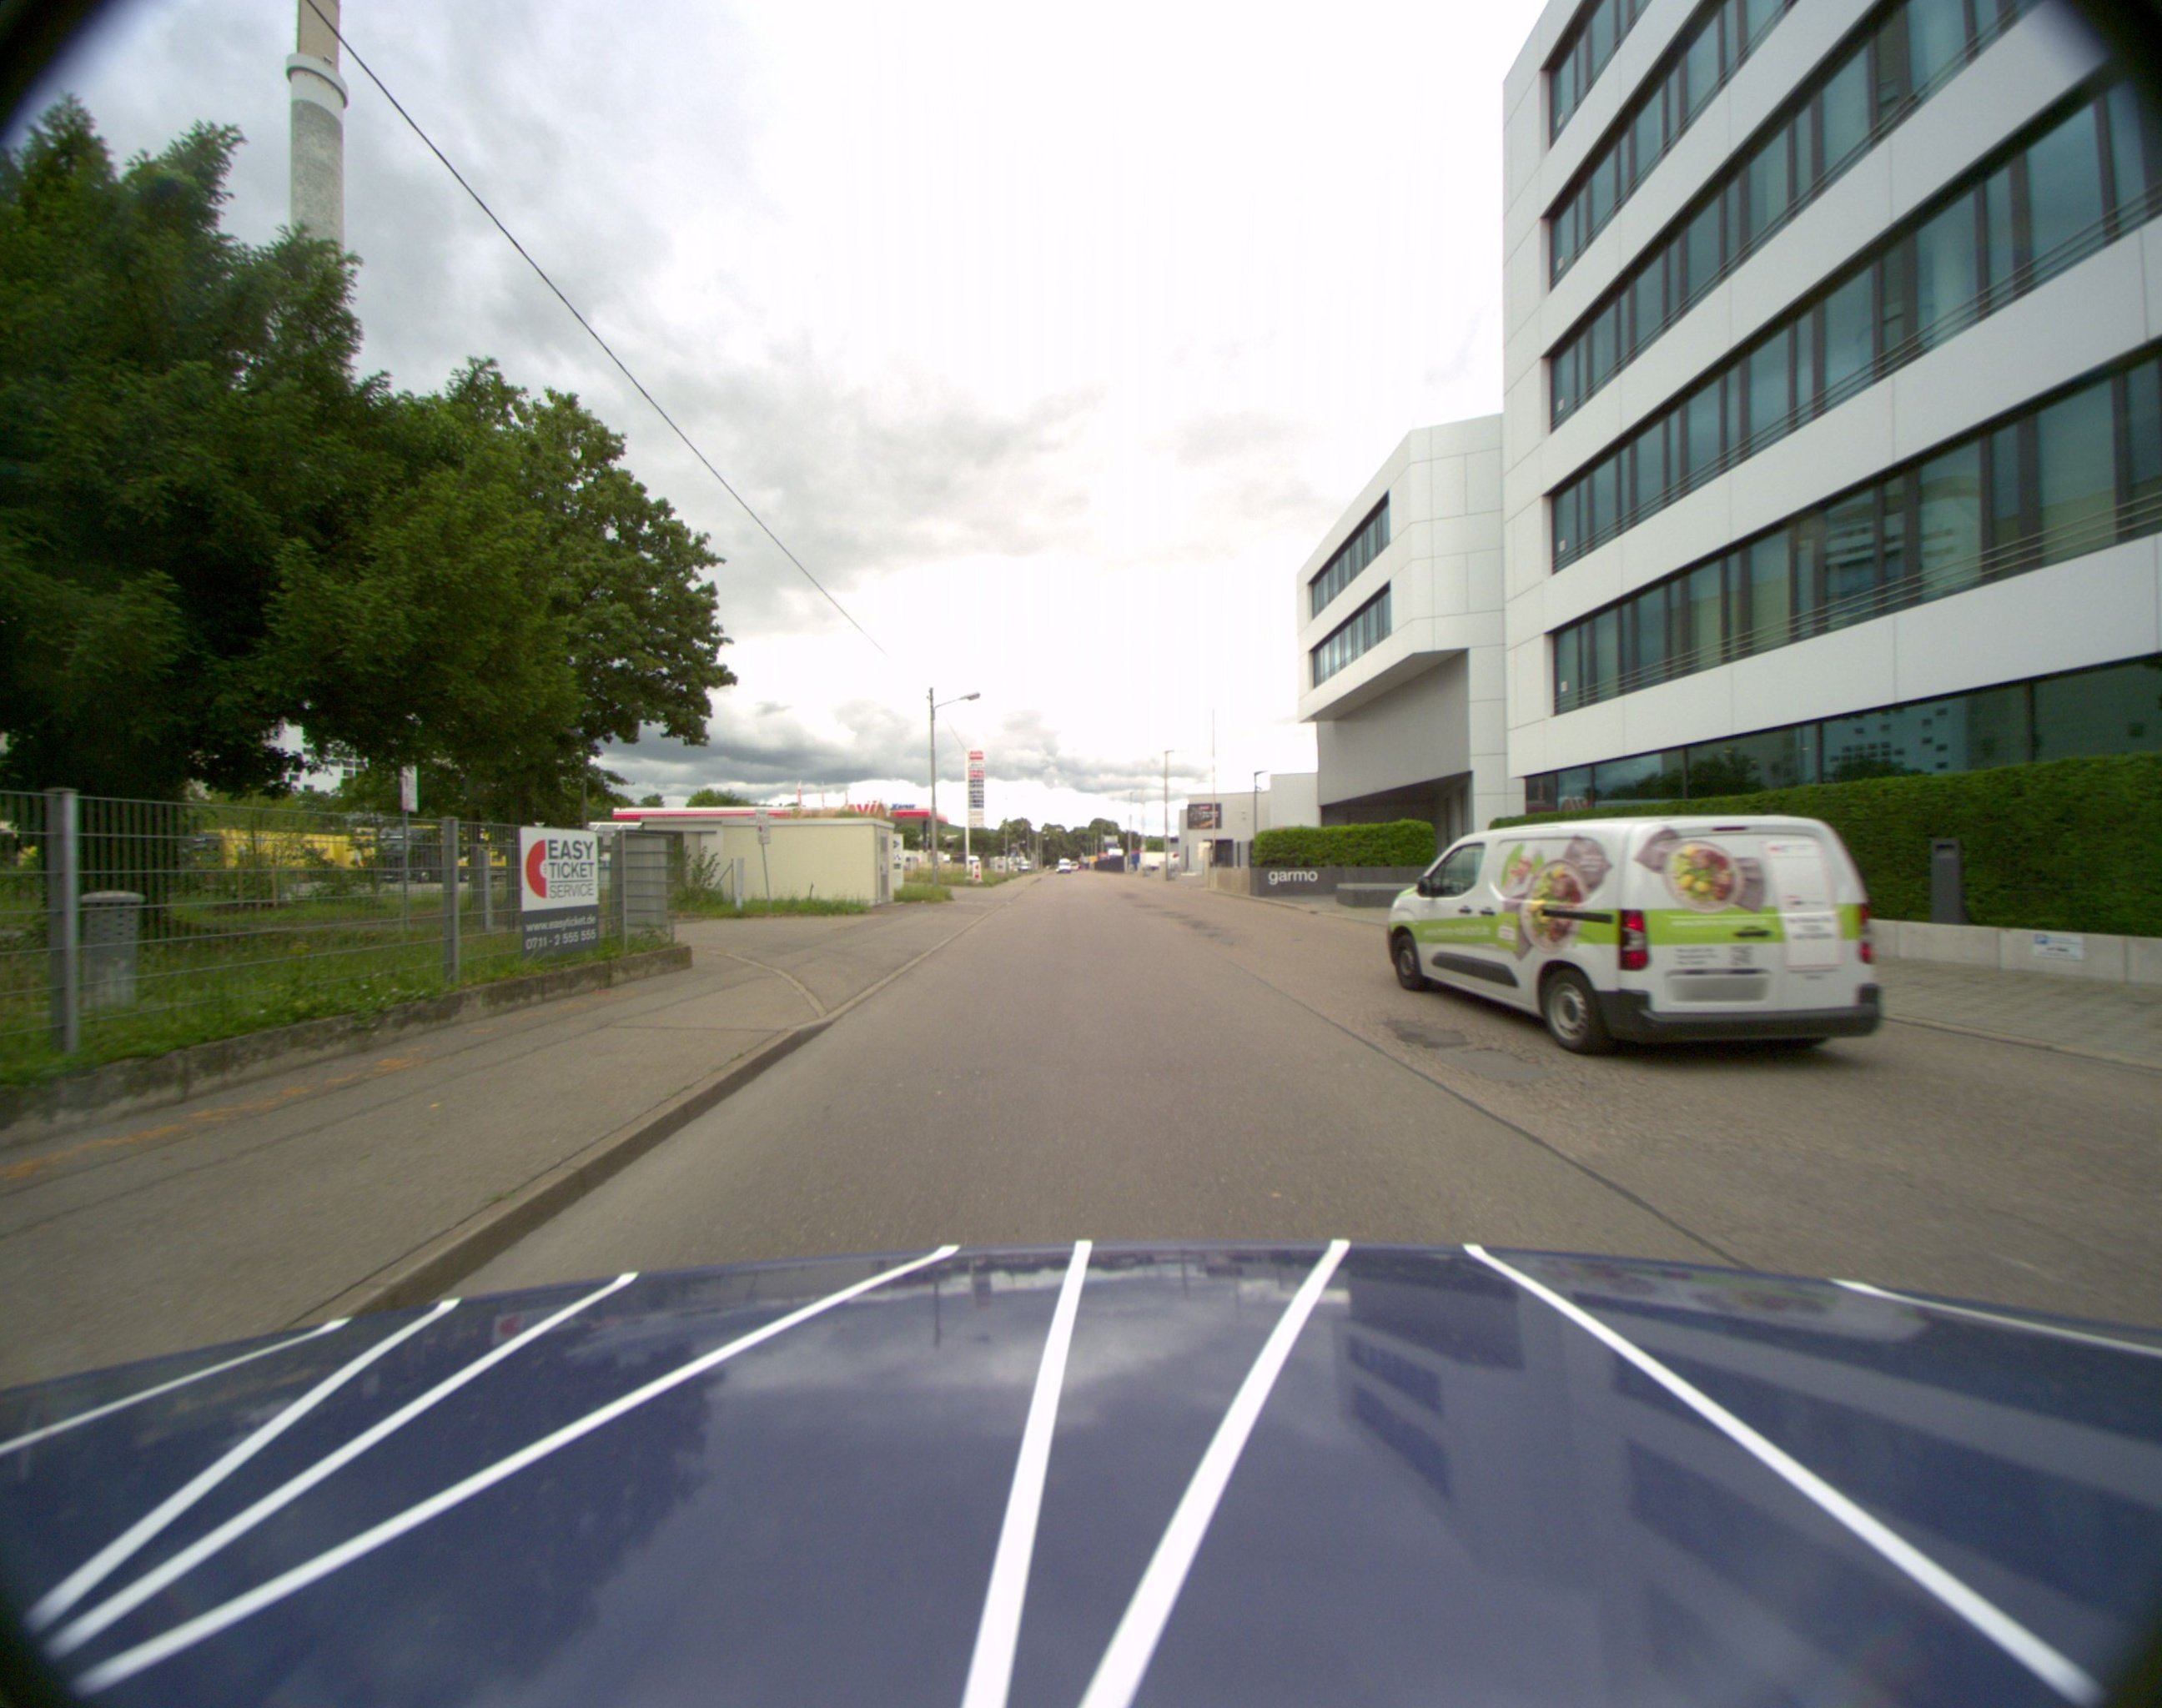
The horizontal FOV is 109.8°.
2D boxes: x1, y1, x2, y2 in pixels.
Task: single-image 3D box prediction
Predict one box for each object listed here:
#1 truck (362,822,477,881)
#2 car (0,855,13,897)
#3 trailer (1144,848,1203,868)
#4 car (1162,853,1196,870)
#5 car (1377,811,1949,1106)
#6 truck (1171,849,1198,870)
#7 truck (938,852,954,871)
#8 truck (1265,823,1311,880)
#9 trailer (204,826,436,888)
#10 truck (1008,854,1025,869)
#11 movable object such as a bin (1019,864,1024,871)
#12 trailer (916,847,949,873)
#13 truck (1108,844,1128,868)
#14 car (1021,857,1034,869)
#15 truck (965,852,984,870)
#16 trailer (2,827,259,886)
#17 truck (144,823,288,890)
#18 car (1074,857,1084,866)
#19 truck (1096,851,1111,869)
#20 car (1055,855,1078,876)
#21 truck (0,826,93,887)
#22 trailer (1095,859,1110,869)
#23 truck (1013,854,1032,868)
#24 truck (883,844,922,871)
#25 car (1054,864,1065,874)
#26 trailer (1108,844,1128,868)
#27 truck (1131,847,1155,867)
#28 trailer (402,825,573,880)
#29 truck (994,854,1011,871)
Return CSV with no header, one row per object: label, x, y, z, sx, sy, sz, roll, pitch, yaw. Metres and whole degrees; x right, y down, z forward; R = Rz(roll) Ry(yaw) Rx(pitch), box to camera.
truck,-46.324,-0.117,53.488,2.965,3.891,6.040,0,0,-2
car,-40.372,0.794,26.157,1.737,1.521,3.884,0,-1,0
trailer,19.898,0.833,163.537,12.022,4.108,3.053,1,0,17
car,16.917,1.340,130.962,5.423,2.714,2.245,-2,-1,18
car,4.402,0.656,6.774,1.812,1.754,4.205,-2,0,-1
truck,21.498,1.129,157.682,4.870,4.180,3.053,1,0,21
truck,-28.842,1.618,161.977,2.876,4.070,6.749,1,-1,-15
truck,15.855,-0.149,57.815,2.745,4.006,7.103,-1,-1,19
trailer,-58.906,0.264,60.012,3.028,4.235,15.723,0,-1,-2
truck,-15.987,1.802,186.645,2.876,3.608,6.748,1,-1,-16
movable object such as a bin,-8.465,1.923,107.978,0.716,1.075,0.662,-1,-1,-8
trailer,-24.052,1.017,123.423,2.964,3.943,10.407,1,-1,2
truck,6.537,0.364,134.454,3.367,4.135,5.629,1,0,3
car,-10.954,1.911,156.294,2.091,2.401,6.084,-1,-1,0
truck,-24.293,1.578,173.018,2.877,4.070,6.745,1,-1,-21
trailer,-70.630,0.232,57.410,2.697,3.891,13.687,0,-1,-2
truck,-58.626,0.196,51.755,3.052,4.237,6.040,0,0,-2
car,-0.492,1.978,199.235,1.998,2.401,5.259,-2,-1,4
truck,5.000,1.369,170.488,3.021,3.826,5.670,1,0,-1
car,-2.603,1.988,132.309,3.340,3.586,8.667,0,-1,-5
truck,-70.357,0.181,50.078,2.697,3.891,6.040,0,0,-2
trailer,4.931,2.246,176.047,3.046,2.179,12.048,1,-1,-1
truck,-15.805,1.861,204.135,2.833,3.689,9.090,-1,-1,-19
truck,-27.782,0.650,119.067,3.083,3.943,13.069,1,-1,-1
car,-4.161,2.942,147.289,1.713,2.001,3.888,0,-1,-6
trailer,6.850,0.443,141.447,3.367,4.135,13.852,1,-1,3
truck,13.520,0.715,164.775,4.879,4.108,3.048,1,0,0
trailer,-46.603,-0.040,60.705,3.008,3.891,14.300,0,-1,-2
truck,-18.857,2.008,182.385,2.876,3.989,6.748,1,-1,-16
